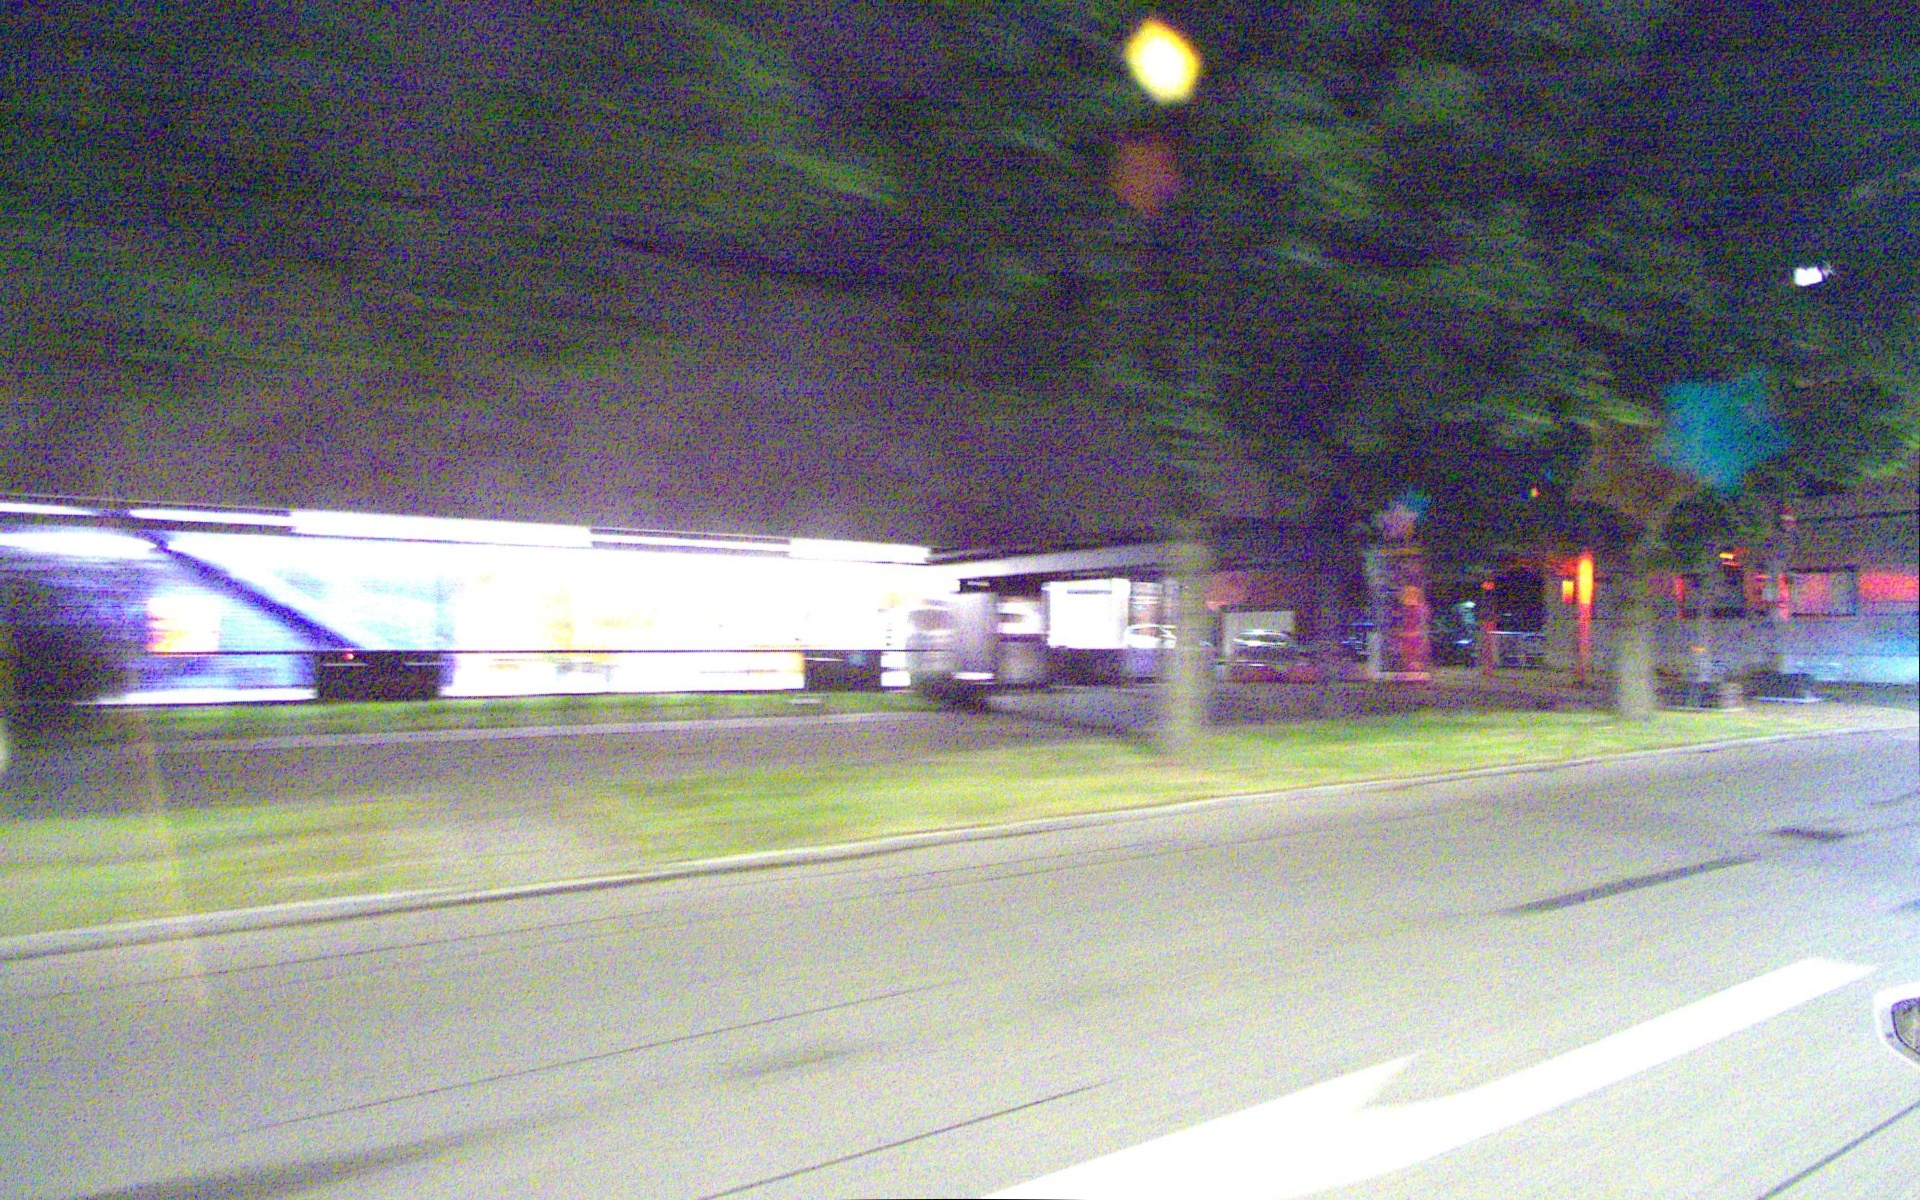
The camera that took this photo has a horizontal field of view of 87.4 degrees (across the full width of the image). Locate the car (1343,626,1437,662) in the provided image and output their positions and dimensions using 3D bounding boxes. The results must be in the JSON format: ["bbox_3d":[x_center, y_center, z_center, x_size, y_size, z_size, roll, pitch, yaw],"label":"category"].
[{"bbox_3d":[20.414,2.086,47.689,4.132,1.661,1.986,2,-3,-28],"label":"car"}]

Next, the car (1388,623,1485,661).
[{"bbox_3d":[21.455,1.897,45.249,3.949,1.661,1.986,2,-3,-28],"label":"car"}]

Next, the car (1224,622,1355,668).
[{"bbox_3d":[11.794,1.601,36.192,1.812,1.410,4.355,7,-5,-29],"label":"car"}]

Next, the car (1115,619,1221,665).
[{"bbox_3d":[8.597,1.743,41.876,1.812,1.698,4.355,7,-5,-29],"label":"car"}]
